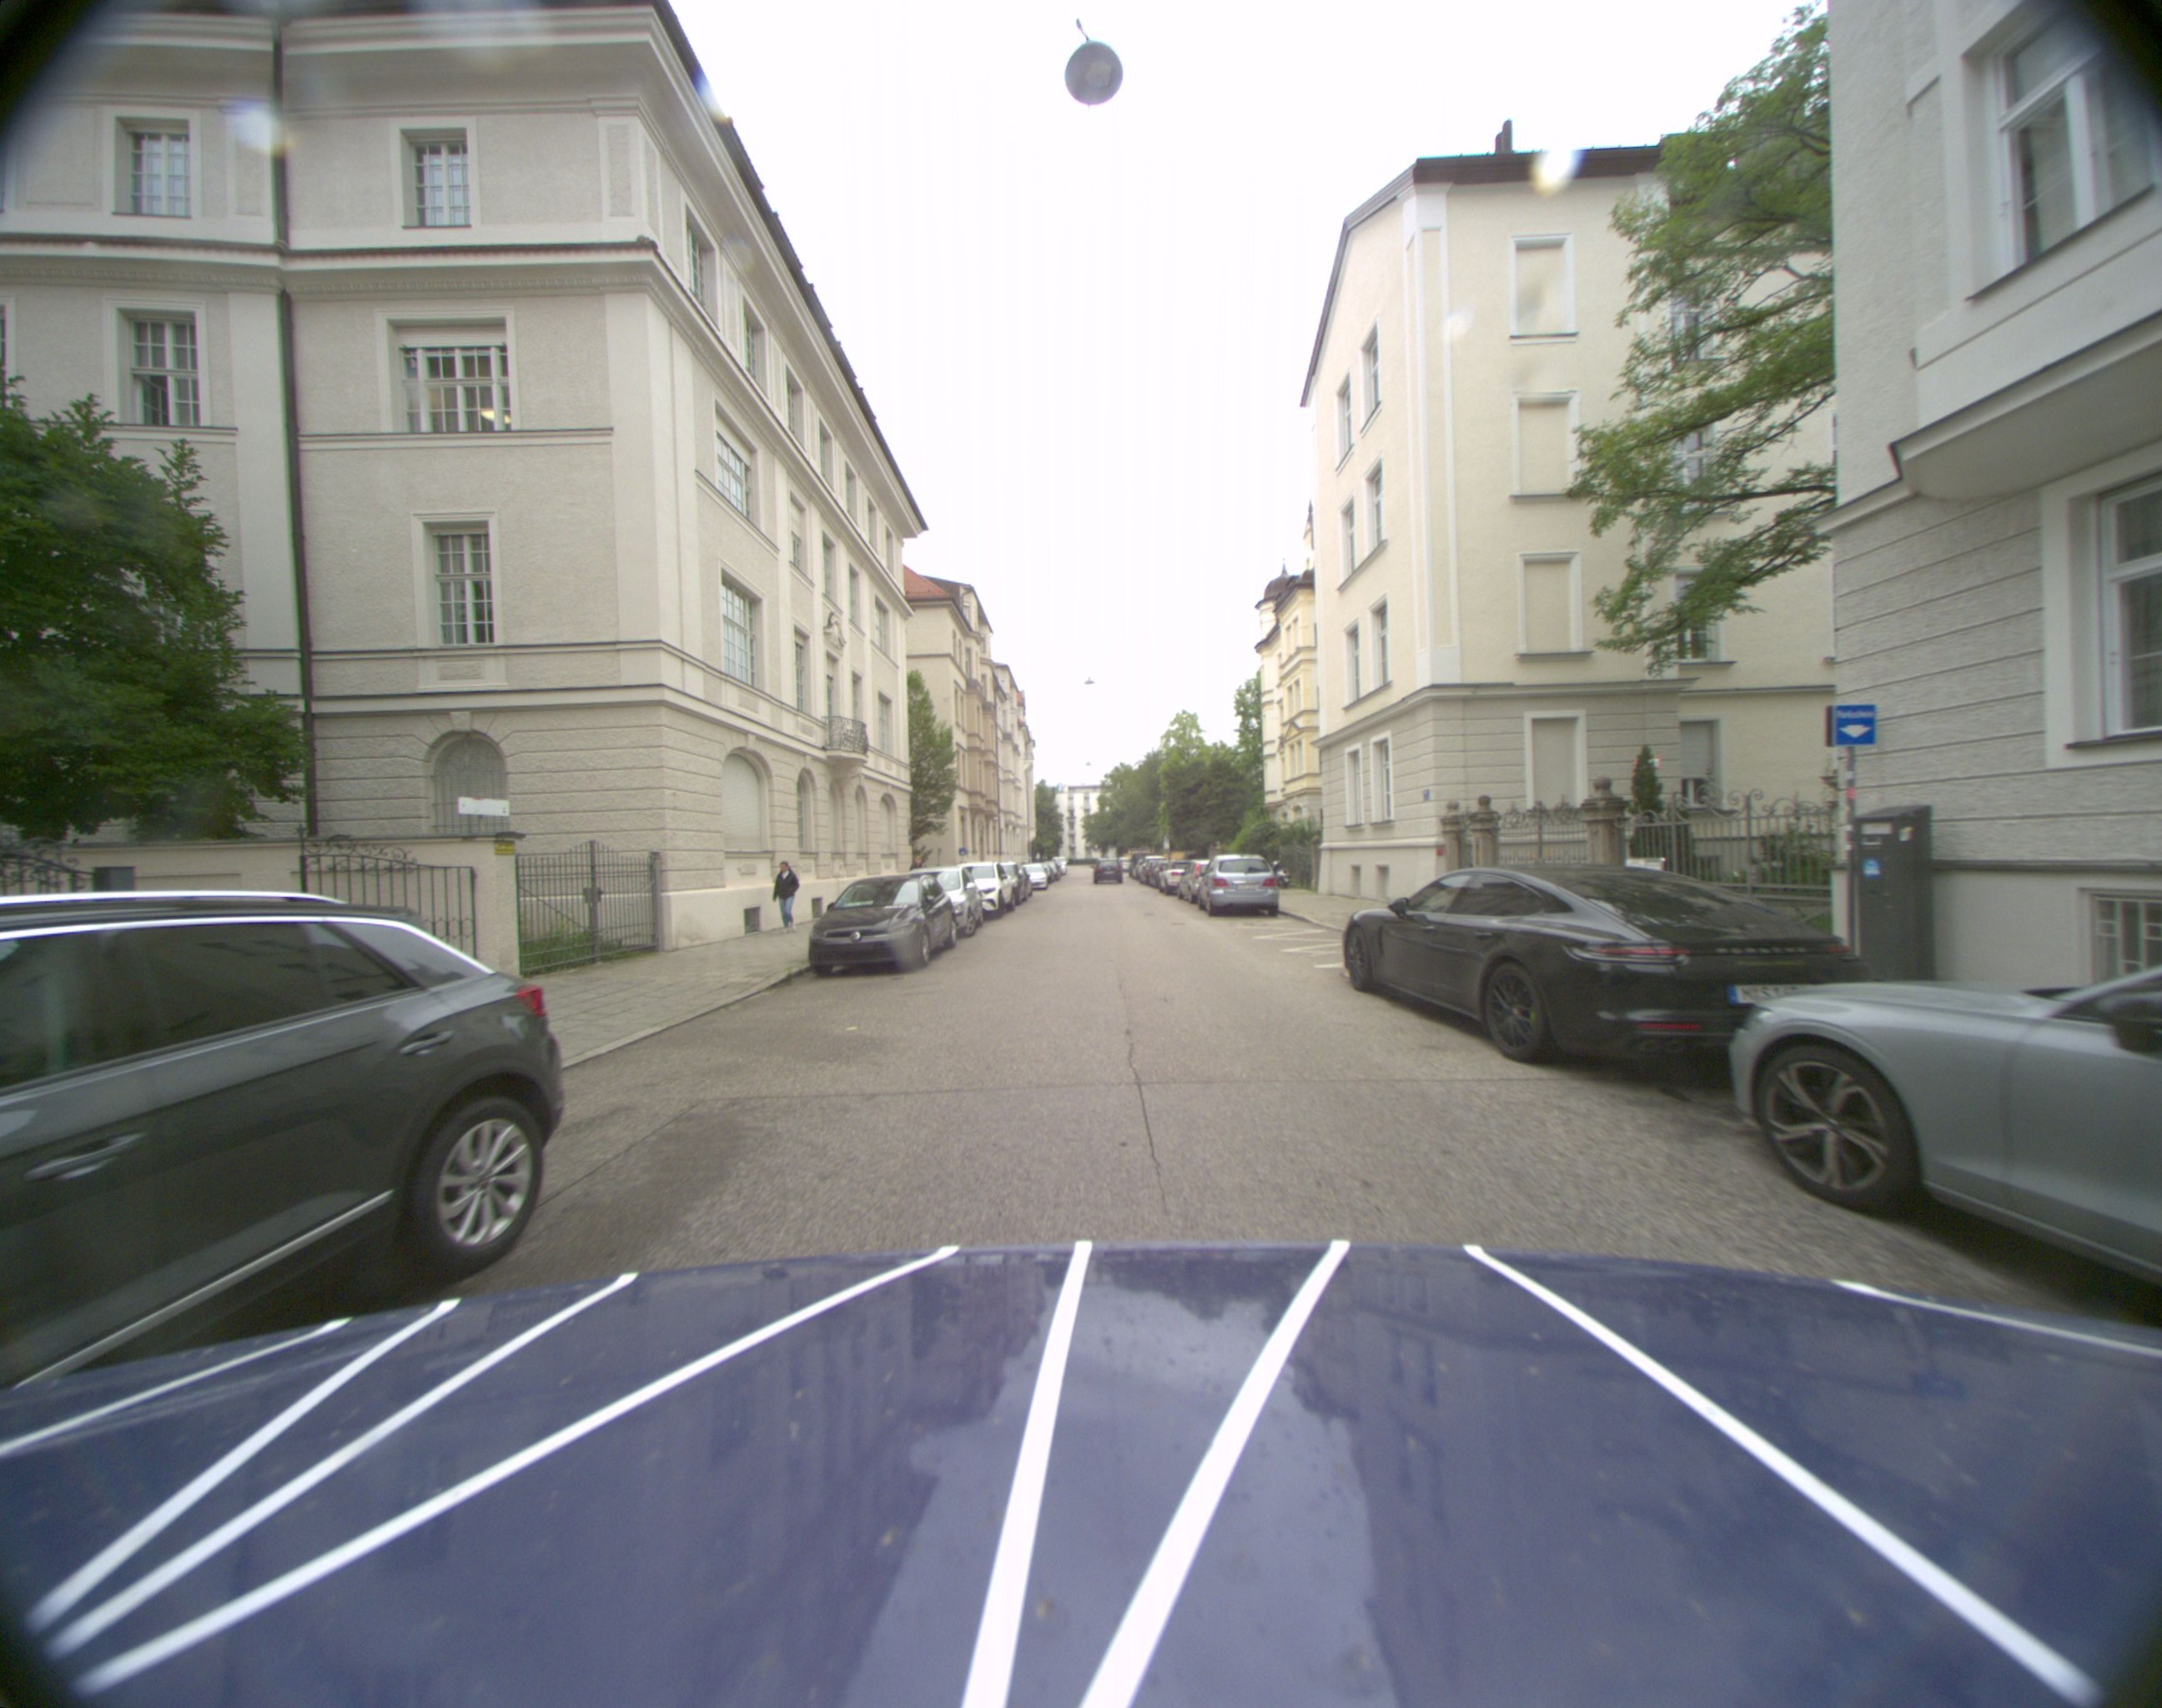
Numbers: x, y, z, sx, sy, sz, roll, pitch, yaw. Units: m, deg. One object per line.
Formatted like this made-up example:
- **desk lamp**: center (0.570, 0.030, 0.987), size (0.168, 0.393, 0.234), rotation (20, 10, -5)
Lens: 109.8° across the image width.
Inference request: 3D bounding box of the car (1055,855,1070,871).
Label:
- **car**: center (-2.387, 1.106, 97.625), size (1.794, 1.926, 4.084), rotation (-3, 0, -2)

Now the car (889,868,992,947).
- **car**: center (-3.150, 1.137, 17.764), size (1.712, 1.492, 3.999), rotation (-2, 0, -2)

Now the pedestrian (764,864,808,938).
- **pedestrian**: center (-6.840, 1.063, 17.621), size (0.684, 1.669, 0.812), rotation (1, 0, 0)

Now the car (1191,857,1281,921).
- **car**: center (4.144, 0.882, 20.912), size (1.700, 1.571, 4.062), rotation (1, 0, 1)

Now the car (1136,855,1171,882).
- **car**: center (4.649, 0.890, 49.124), size (1.810, 1.638, 4.485), rotation (0, 0, 0)

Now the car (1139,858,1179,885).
- **car**: center (4.409, 0.968, 43.504), size (1.773, 1.412, 3.999), rotation (-1, 1, -2)

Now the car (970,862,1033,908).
- **car**: center (-2.888, 1.086, 28.423), size (1.753, 1.516, 4.170), rotation (-2, 0, 1)

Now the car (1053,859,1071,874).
- **car**: center (-1.952, 1.280, 78.861), size (1.715, 1.462, 4.084), rotation (-3, 0, -2)

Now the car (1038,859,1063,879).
- **car**: center (-2.315, 1.142, 58.362), size (1.646, 1.409, 4.000), rotation (-3, 0, 2)

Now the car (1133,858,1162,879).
- **car**: center (4.679, 1.006, 54.055), size (1.647, 1.422, 3.919), rotation (1, 0, 0)

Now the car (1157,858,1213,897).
- **car**: center (4.266, 0.918, 31.669), size (1.801, 1.426, 4.079), rotation (-2, 0, 1)

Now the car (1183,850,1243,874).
- **car**: center (11.031, 0.693, 63.576), size (4.520, 1.846, 2.054), rotation (-1, 0, -6)

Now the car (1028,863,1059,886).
- **car**: center (-2.597, 1.398, 53.081), size (1.746, 1.390, 4.022), rotation (-4, 1, 2)

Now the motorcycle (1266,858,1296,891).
- **motorcycle**: center (8.140, 0.830, 31.018), size (0.706, 1.242, 1.820), rotation (-3, 1, 0)

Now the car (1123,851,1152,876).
- **car**: center (4.349, 0.692, 58.674), size (1.917, 1.875, 4.816), rotation (-1, 0, 1)

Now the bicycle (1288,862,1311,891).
- **bicycle**: center (8.360, 0.853, 29.126), size (0.432, 1.055, 1.420), rotation (-5, 0, 2)

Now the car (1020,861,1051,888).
- **car**: center (-2.857, 1.288, 48.265), size (1.796, 1.489, 4.082), rotation (-4, -1, -2)

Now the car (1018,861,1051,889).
- **car**: center (-2.620, 1.165, 43.310), size (1.667, 1.498, 4.064), rotation (-2, -1, -1)

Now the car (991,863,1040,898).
- **car**: center (-2.905, 1.149, 34.375), size (1.715, 1.443, 4.225), rotation (-2, -1, 1)

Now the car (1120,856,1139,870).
- **car**: center (5.180, 0.983, 81.790), size (1.705, 1.483, 3.955), rotation (0, 0, -1)

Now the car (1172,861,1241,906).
- **car**: center (4.295, 0.984, 26.546), size (1.649, 1.395, 3.999), rotation (1, 0, -1)

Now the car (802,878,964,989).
- **car**: center (-3.145, 1.201, 12.883), size (1.616, 1.387, 4.000), rotation (-3, 0, 0)

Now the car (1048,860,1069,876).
- **car**: center (-2.168, 1.376, 73.839), size (1.715, 1.382, 4.000), rotation (-3, 0, 1)

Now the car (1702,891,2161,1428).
- **car**: center (3.913, 0.917, 1.444), size (1.799, 1.411, 4.510), rotation (1, 0, 1)

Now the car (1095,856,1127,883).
- **car**: center (1.842, 0.927, 47.840), size (1.729, 1.525, 4.085), rotation (-2, 1, -1)

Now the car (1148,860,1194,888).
- **car**: center (4.557, 1.010, 39.164), size (1.739, 1.357, 4.192), rotation (0, 0, -2)

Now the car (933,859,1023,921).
- **car**: center (-2.932, 0.996, 22.608), size (1.900, 1.626, 4.392), rotation (-2, -1, 2)

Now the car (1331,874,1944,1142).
- **car**: center (3.948, 0.934, 6.674), size (1.854, 1.359, 4.701), rotation (-2, 0, -1)

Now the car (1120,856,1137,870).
- **car**: center (5.415, 0.966, 87.015), size (1.705, 1.552, 3.930), rotation (0, 0, -1)

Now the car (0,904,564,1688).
- **car**: center (-3.219, 1.050, 1.423), size (1.712, 1.578, 4.000), rotation (-3, 0, -1)
